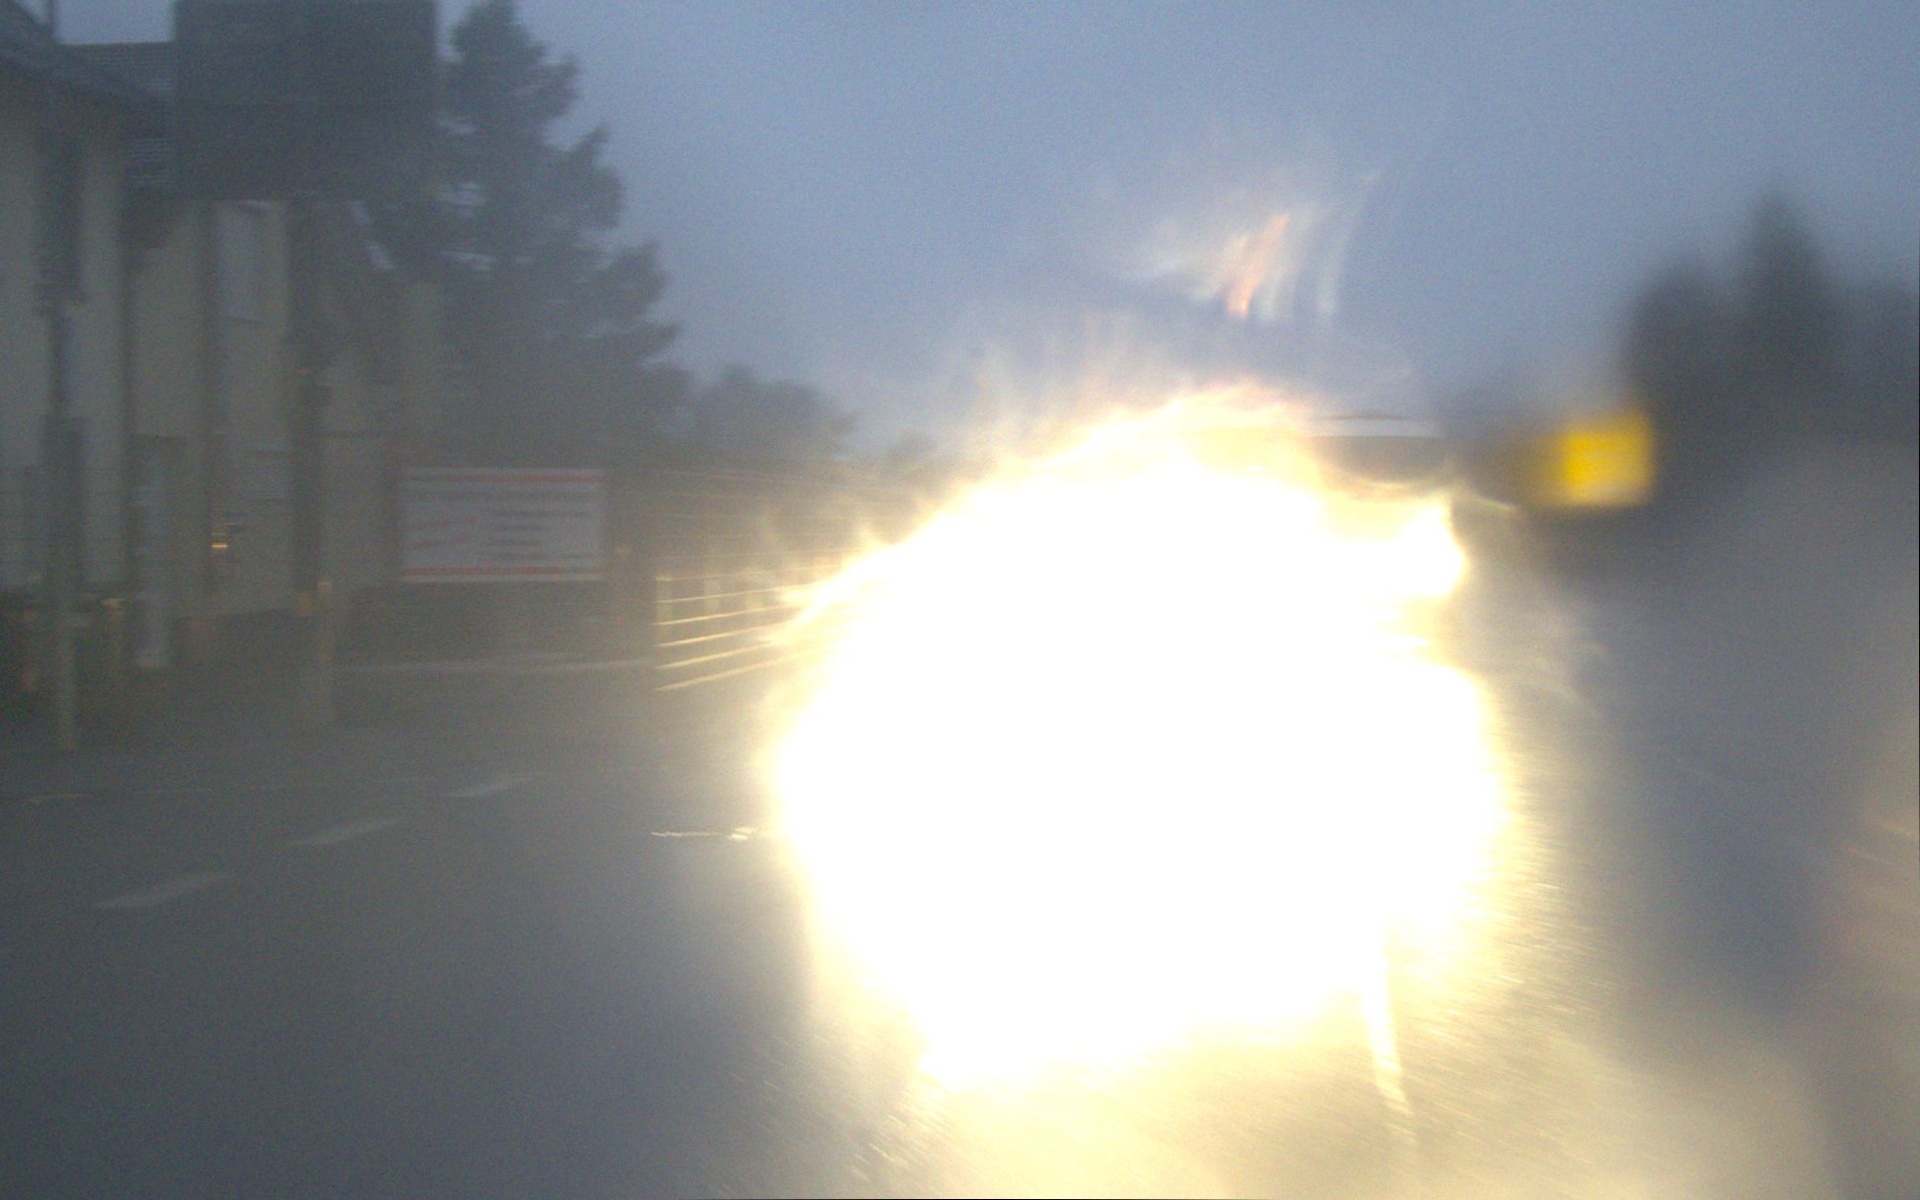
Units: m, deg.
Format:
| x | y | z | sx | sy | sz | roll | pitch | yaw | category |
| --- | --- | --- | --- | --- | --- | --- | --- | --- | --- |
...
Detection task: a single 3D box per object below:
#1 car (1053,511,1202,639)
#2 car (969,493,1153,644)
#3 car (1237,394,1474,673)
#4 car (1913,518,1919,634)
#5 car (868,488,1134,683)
| x | y | z | sx | sy | sz | roll | pitch | yaw | category |
| --- | --- | --- | --- | --- | --- | --- | --- | --- | --- |
| 2.429 | -0.355 | 48.966 | 1.722 | 1.717 | 3.927 | -1 | 0 | 8 | car |
| 1.283 | -0.426 | 42.058 | 1.828 | 1.763 | 3.752 | 0 | 2 | 8 | car |
| 4.609 | -0.772 | 39.663 | 2.402 | 2.882 | 6.249 | 2 | 1 | 8 | car |
| 18.709 | -0.478 | 59.937 | 3.990 | 2.007 | 1.999 | -1 | 1 | 16 | car |
| 0.469 | -0.172 | 33.295 | 1.994 | 1.740 | 3.999 | -1 | 1 | 9 | car |
